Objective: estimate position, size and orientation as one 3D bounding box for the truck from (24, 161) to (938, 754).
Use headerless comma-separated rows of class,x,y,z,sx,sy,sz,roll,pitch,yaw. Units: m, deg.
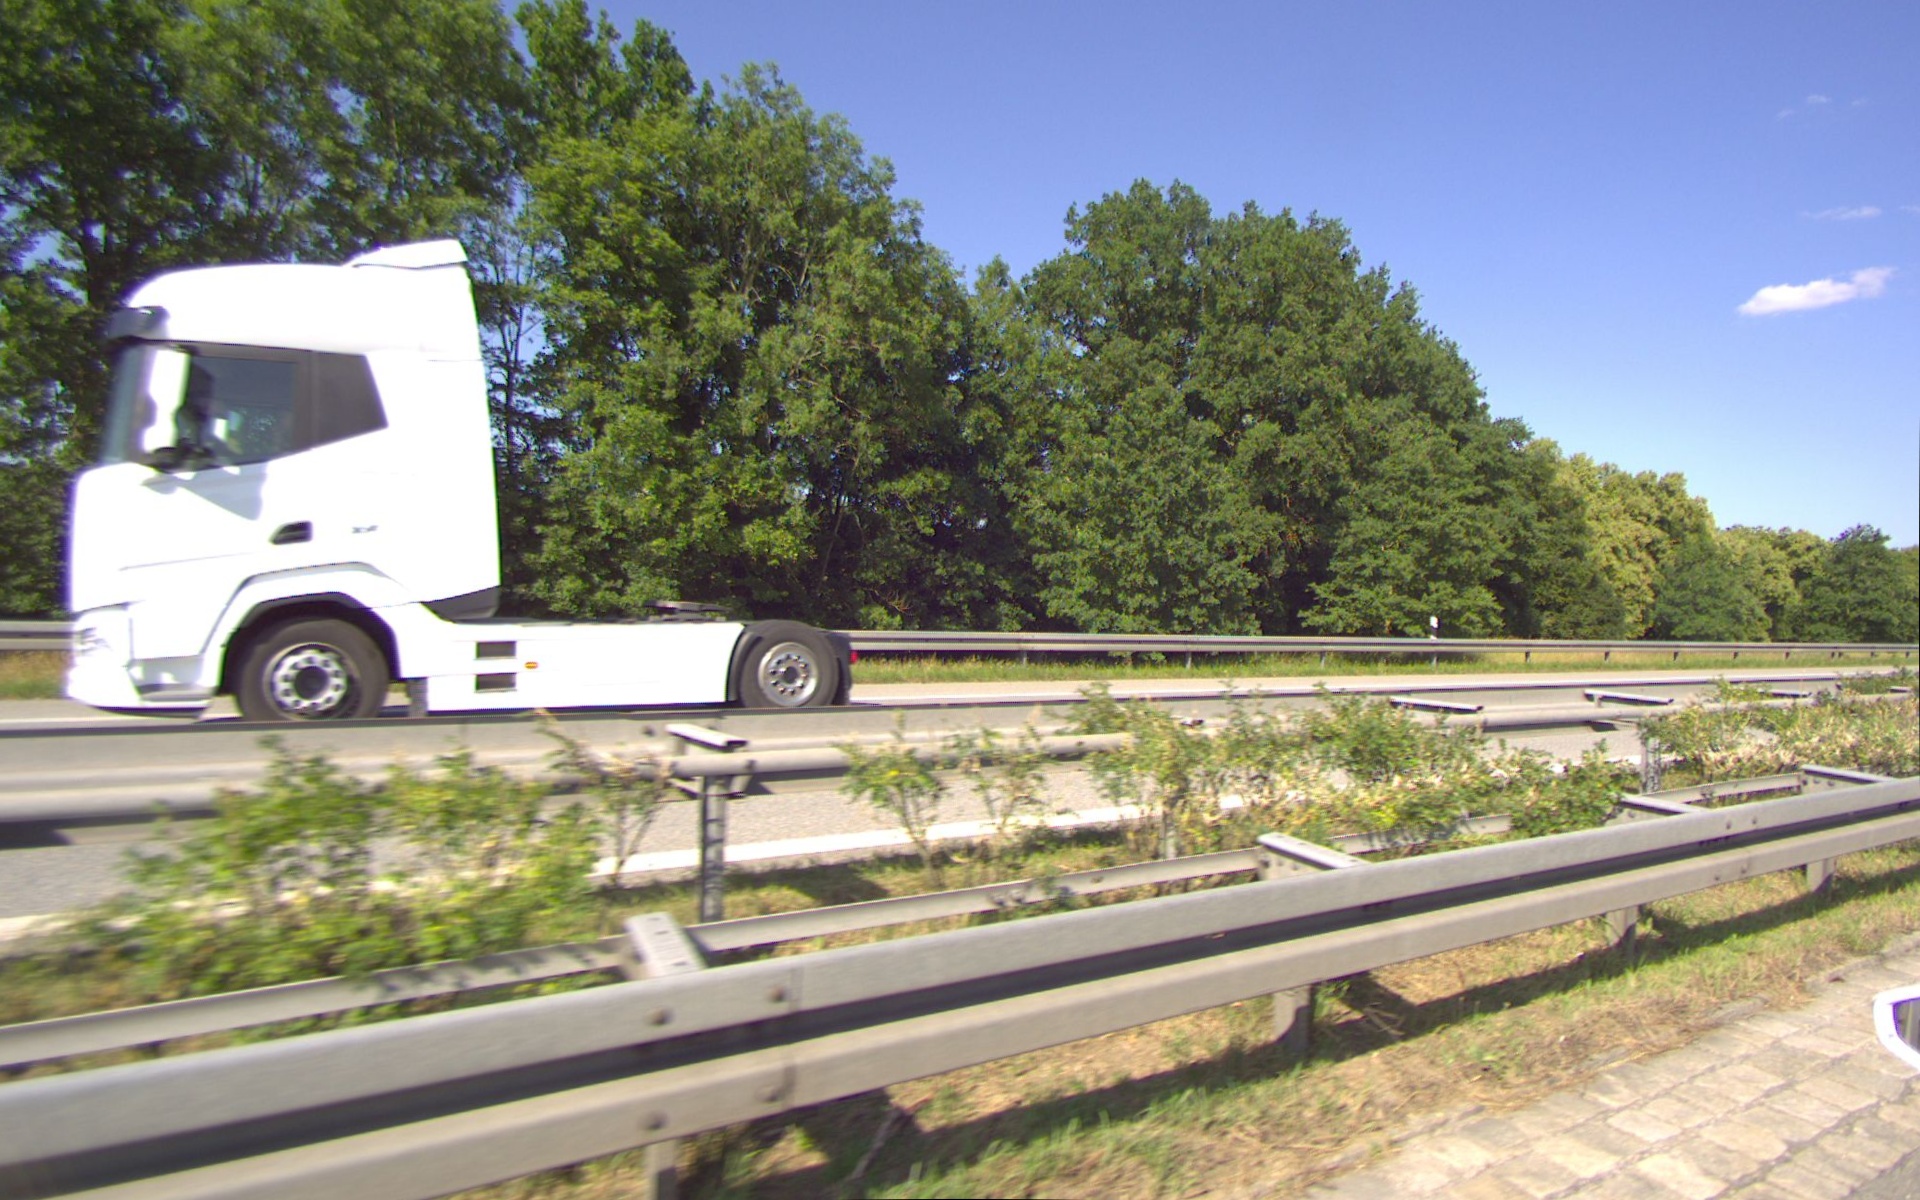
truck,-3.786,-0.827,9.403,6.730,3.890,2.612,2,-2,-30
